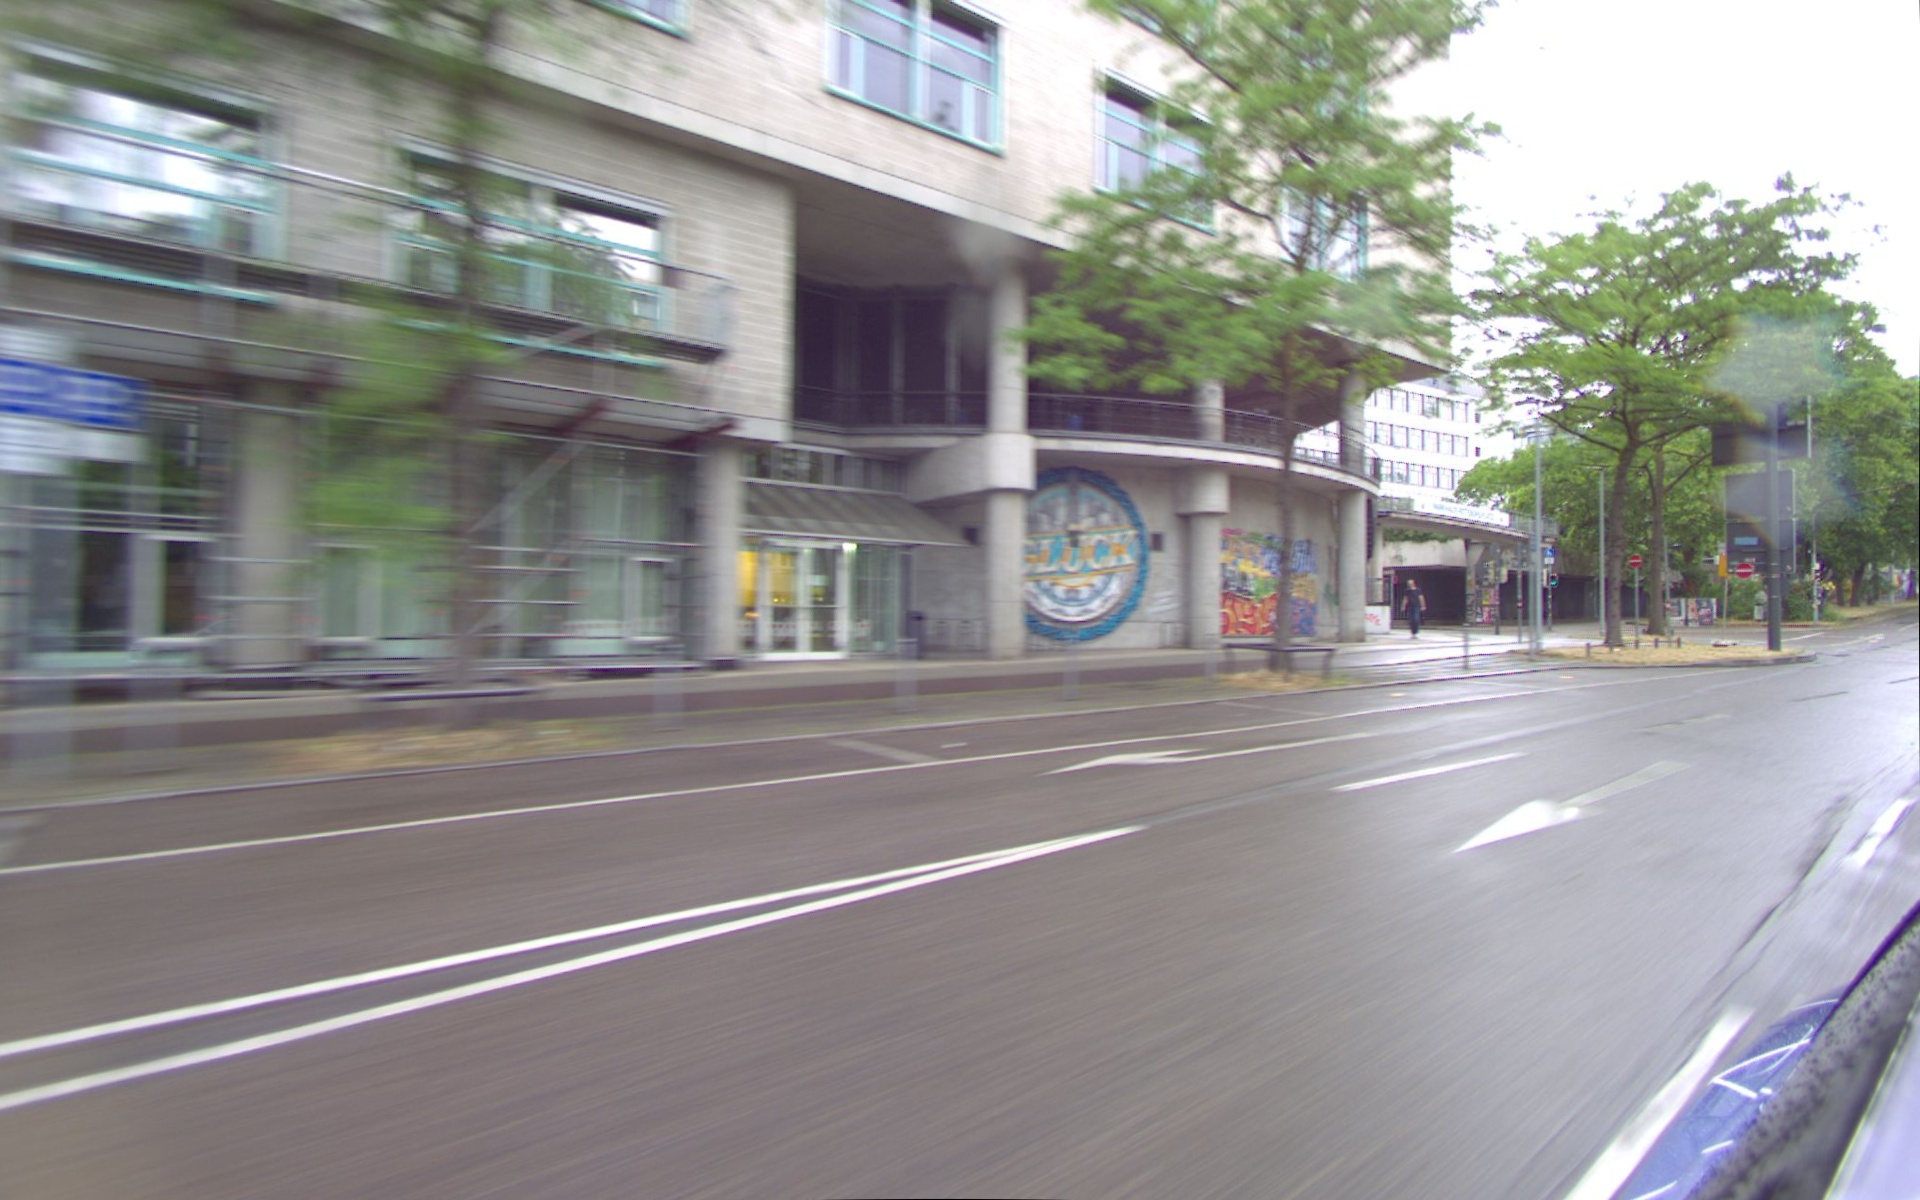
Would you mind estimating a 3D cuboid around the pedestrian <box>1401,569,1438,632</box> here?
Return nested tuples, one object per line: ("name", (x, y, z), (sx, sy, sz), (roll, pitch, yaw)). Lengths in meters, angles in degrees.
("pedestrian", (15.012, 0.022, 33.063), (0.745, 2.039, 0.870), (0, -1, -42))
